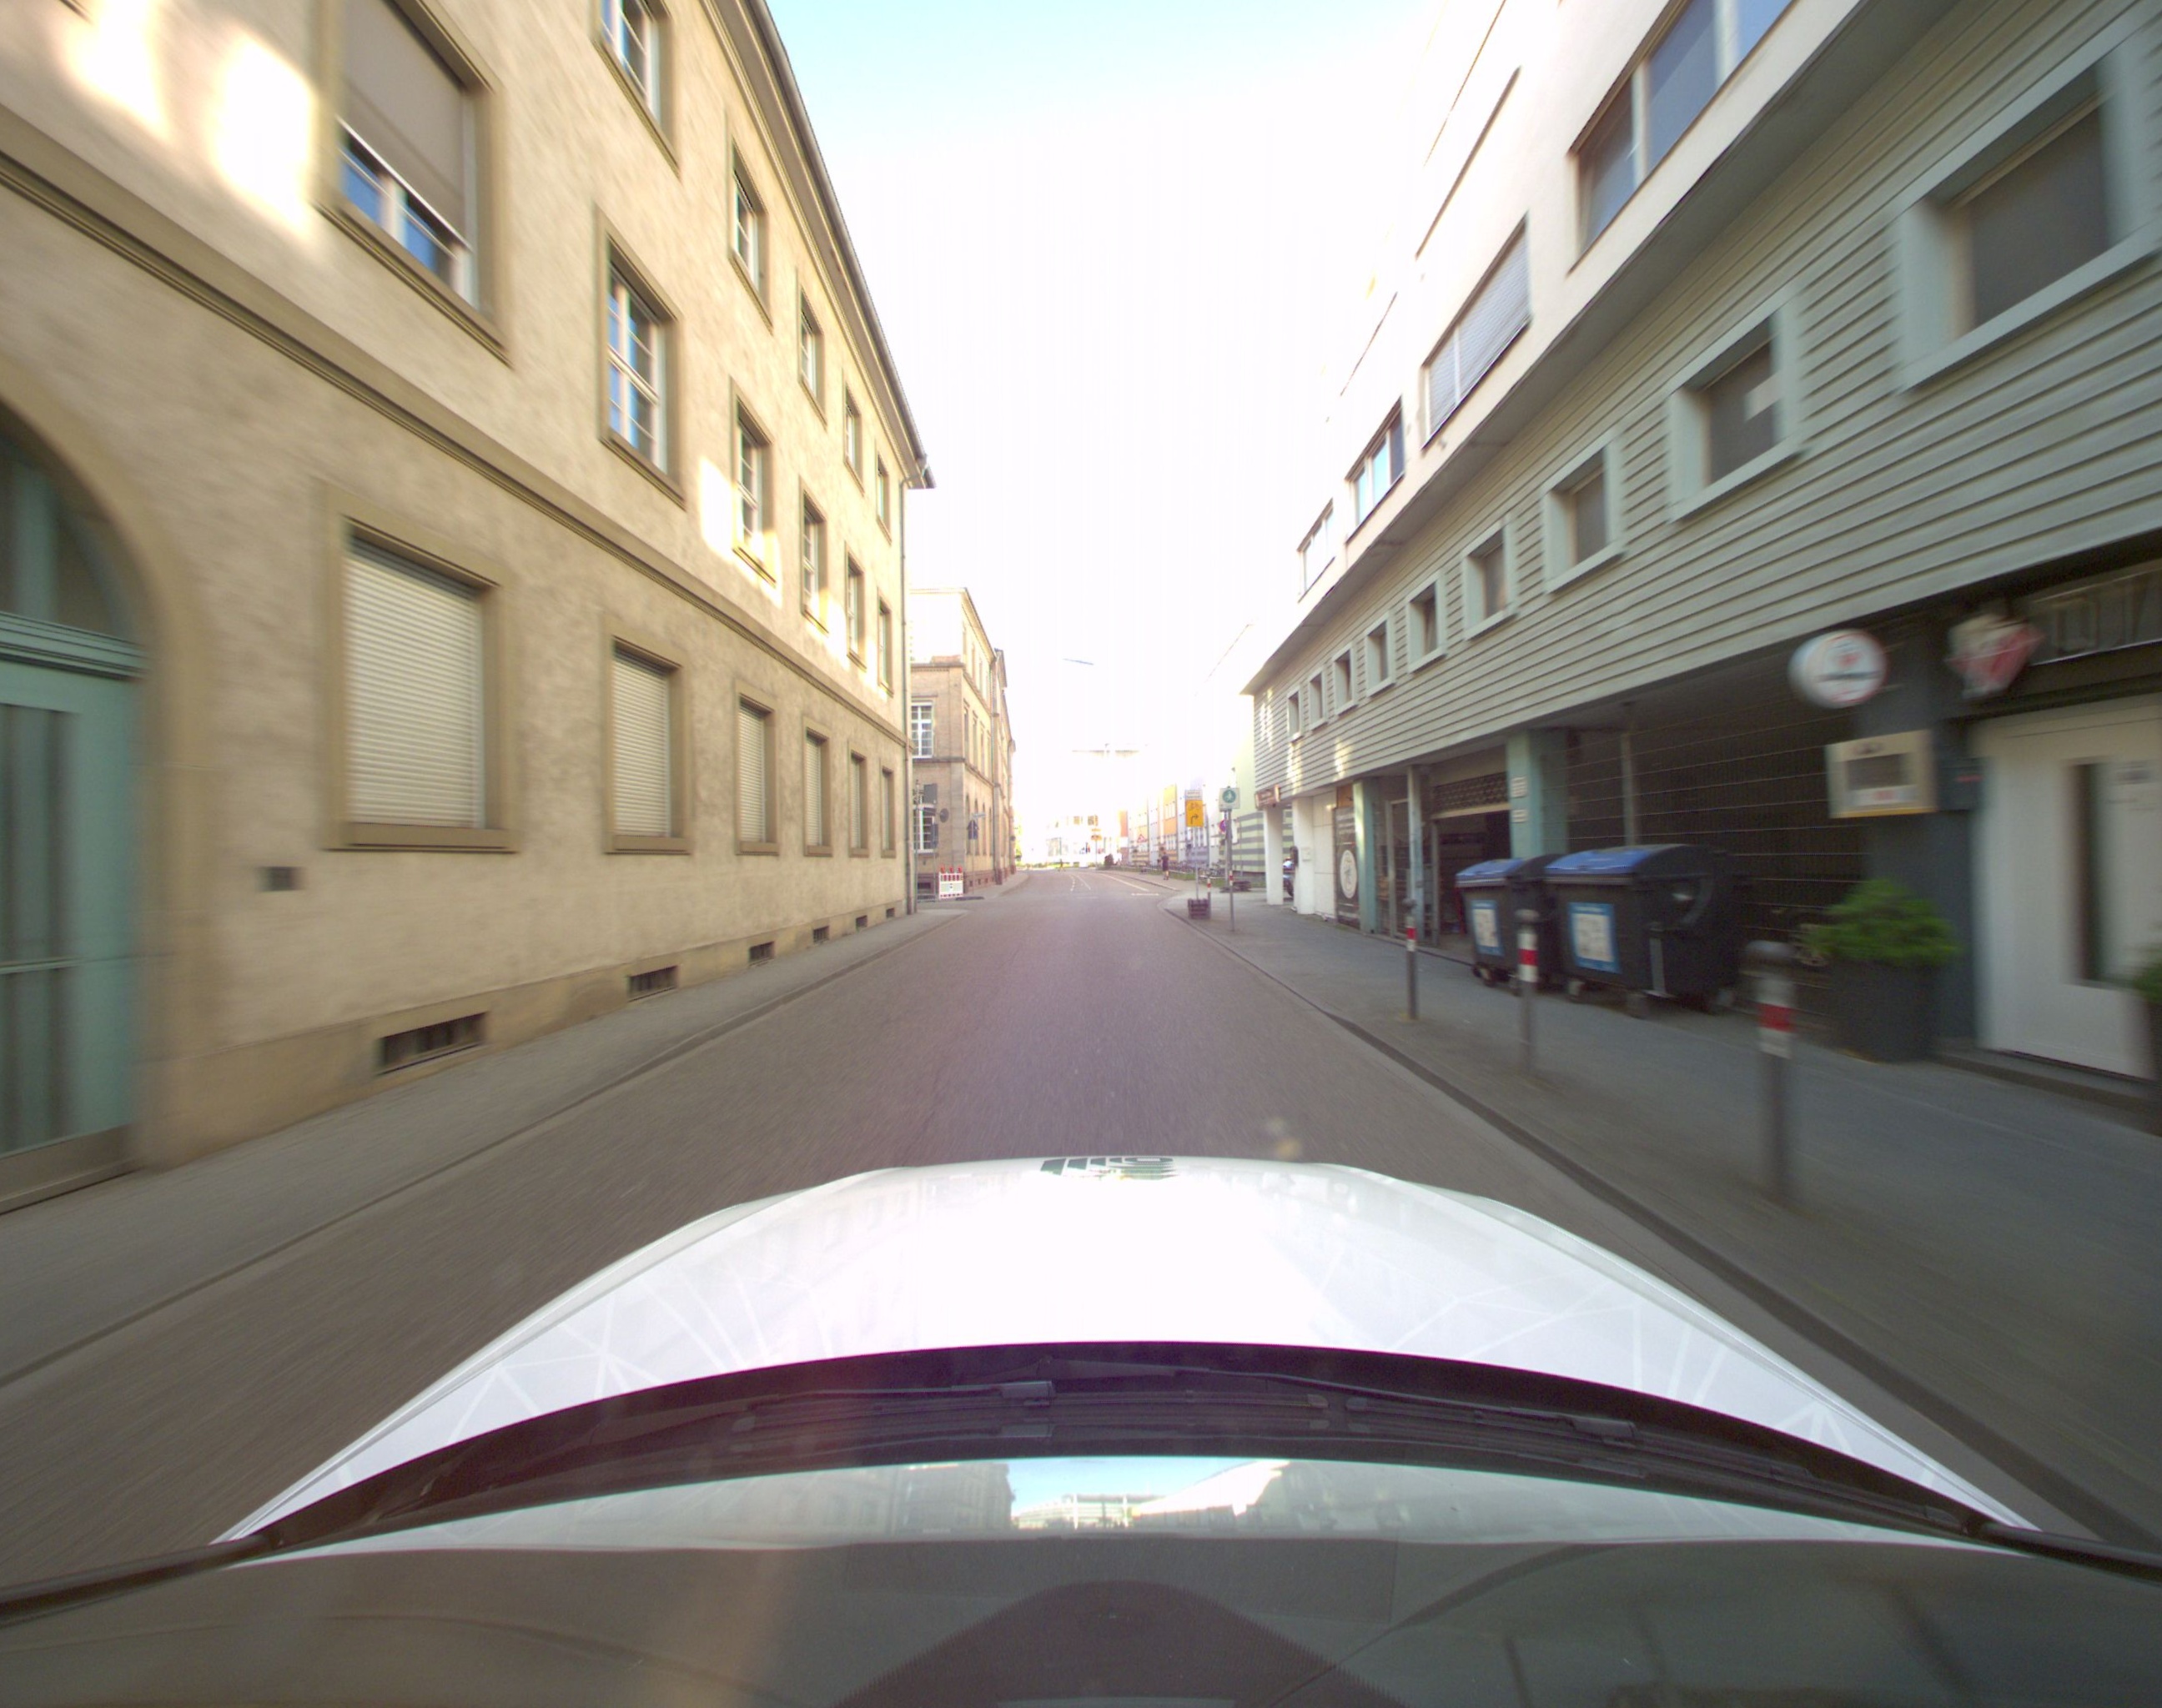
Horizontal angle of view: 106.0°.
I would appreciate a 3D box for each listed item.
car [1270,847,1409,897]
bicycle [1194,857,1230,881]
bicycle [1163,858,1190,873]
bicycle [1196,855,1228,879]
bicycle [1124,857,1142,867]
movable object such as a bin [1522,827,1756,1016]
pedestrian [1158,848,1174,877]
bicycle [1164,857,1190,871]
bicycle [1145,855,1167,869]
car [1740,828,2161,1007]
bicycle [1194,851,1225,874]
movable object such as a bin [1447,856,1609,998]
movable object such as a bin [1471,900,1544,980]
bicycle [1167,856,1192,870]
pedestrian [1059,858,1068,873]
[{"bbox_3d":[8.678,0.584,27.540,4.067,1.482,1.864,-2,0,-2],"label":"car"},{"bbox_3d":[6.948,0.792,43.316,1.744,1.141,0.551,-5,1,-2],"label":"bicycle"},{"bbox_3d":[6.716,0.784,57.213,1.744,0.946,0.551,-3,0,-2],"label":"bicycle"},{"bbox_3d":[7.185,0.697,44.719,1.641,1.141,0.282,-6,1,-10],"label":"bicycle"},{"bbox_3d":[5.619,0.835,88.079,1.752,1.004,0.612,-4,0,-7],"label":"bicycle"},{"bbox_3d":[4.992,0.575,7.449,0.978,1.480,1.551,-4,-2,1],"label":"movable object such as a bin"},{"bbox_3d":[5.328,0.536,51.074,0.695,1.760,1.188,-5,0,-1],"label":"pedestrian"},{"bbox_3d":[6.873,0.711,58.155,1.744,0.946,0.551,-3,0,-2],"label":"bicycle"},{"bbox_3d":[6.801,0.710,73.811,1.806,1.137,0.551,-3,0,-4],"label":"bicycle"},{"bbox_3d":[9.729,0.537,8.623,1.823,1.433,4.275,-4,-1,-3],"label":"car"},{"bbox_3d":[7.116,0.475,44.981,1.602,1.141,0.236,-6,1,-10],"label":"bicycle"},{"bbox_3d":[4.860,0.763,8.974,0.978,1.385,1.320,-4,-2,1],"label":"movable object such as a bin"},{"bbox_3d":[5.211,1.038,9.981,0.554,0.899,0.523,-4,-2,0],"label":"movable object such as a bin"},{"bbox_3d":[7.131,0.633,59.009,1.743,0.946,0.325,-3,0,-1],"label":"bicycle"},{"bbox_3d":[-2.276,1.490,106.312,0.895,2.013,0.750,-3,0,-10],"label":"pedestrian"}]
